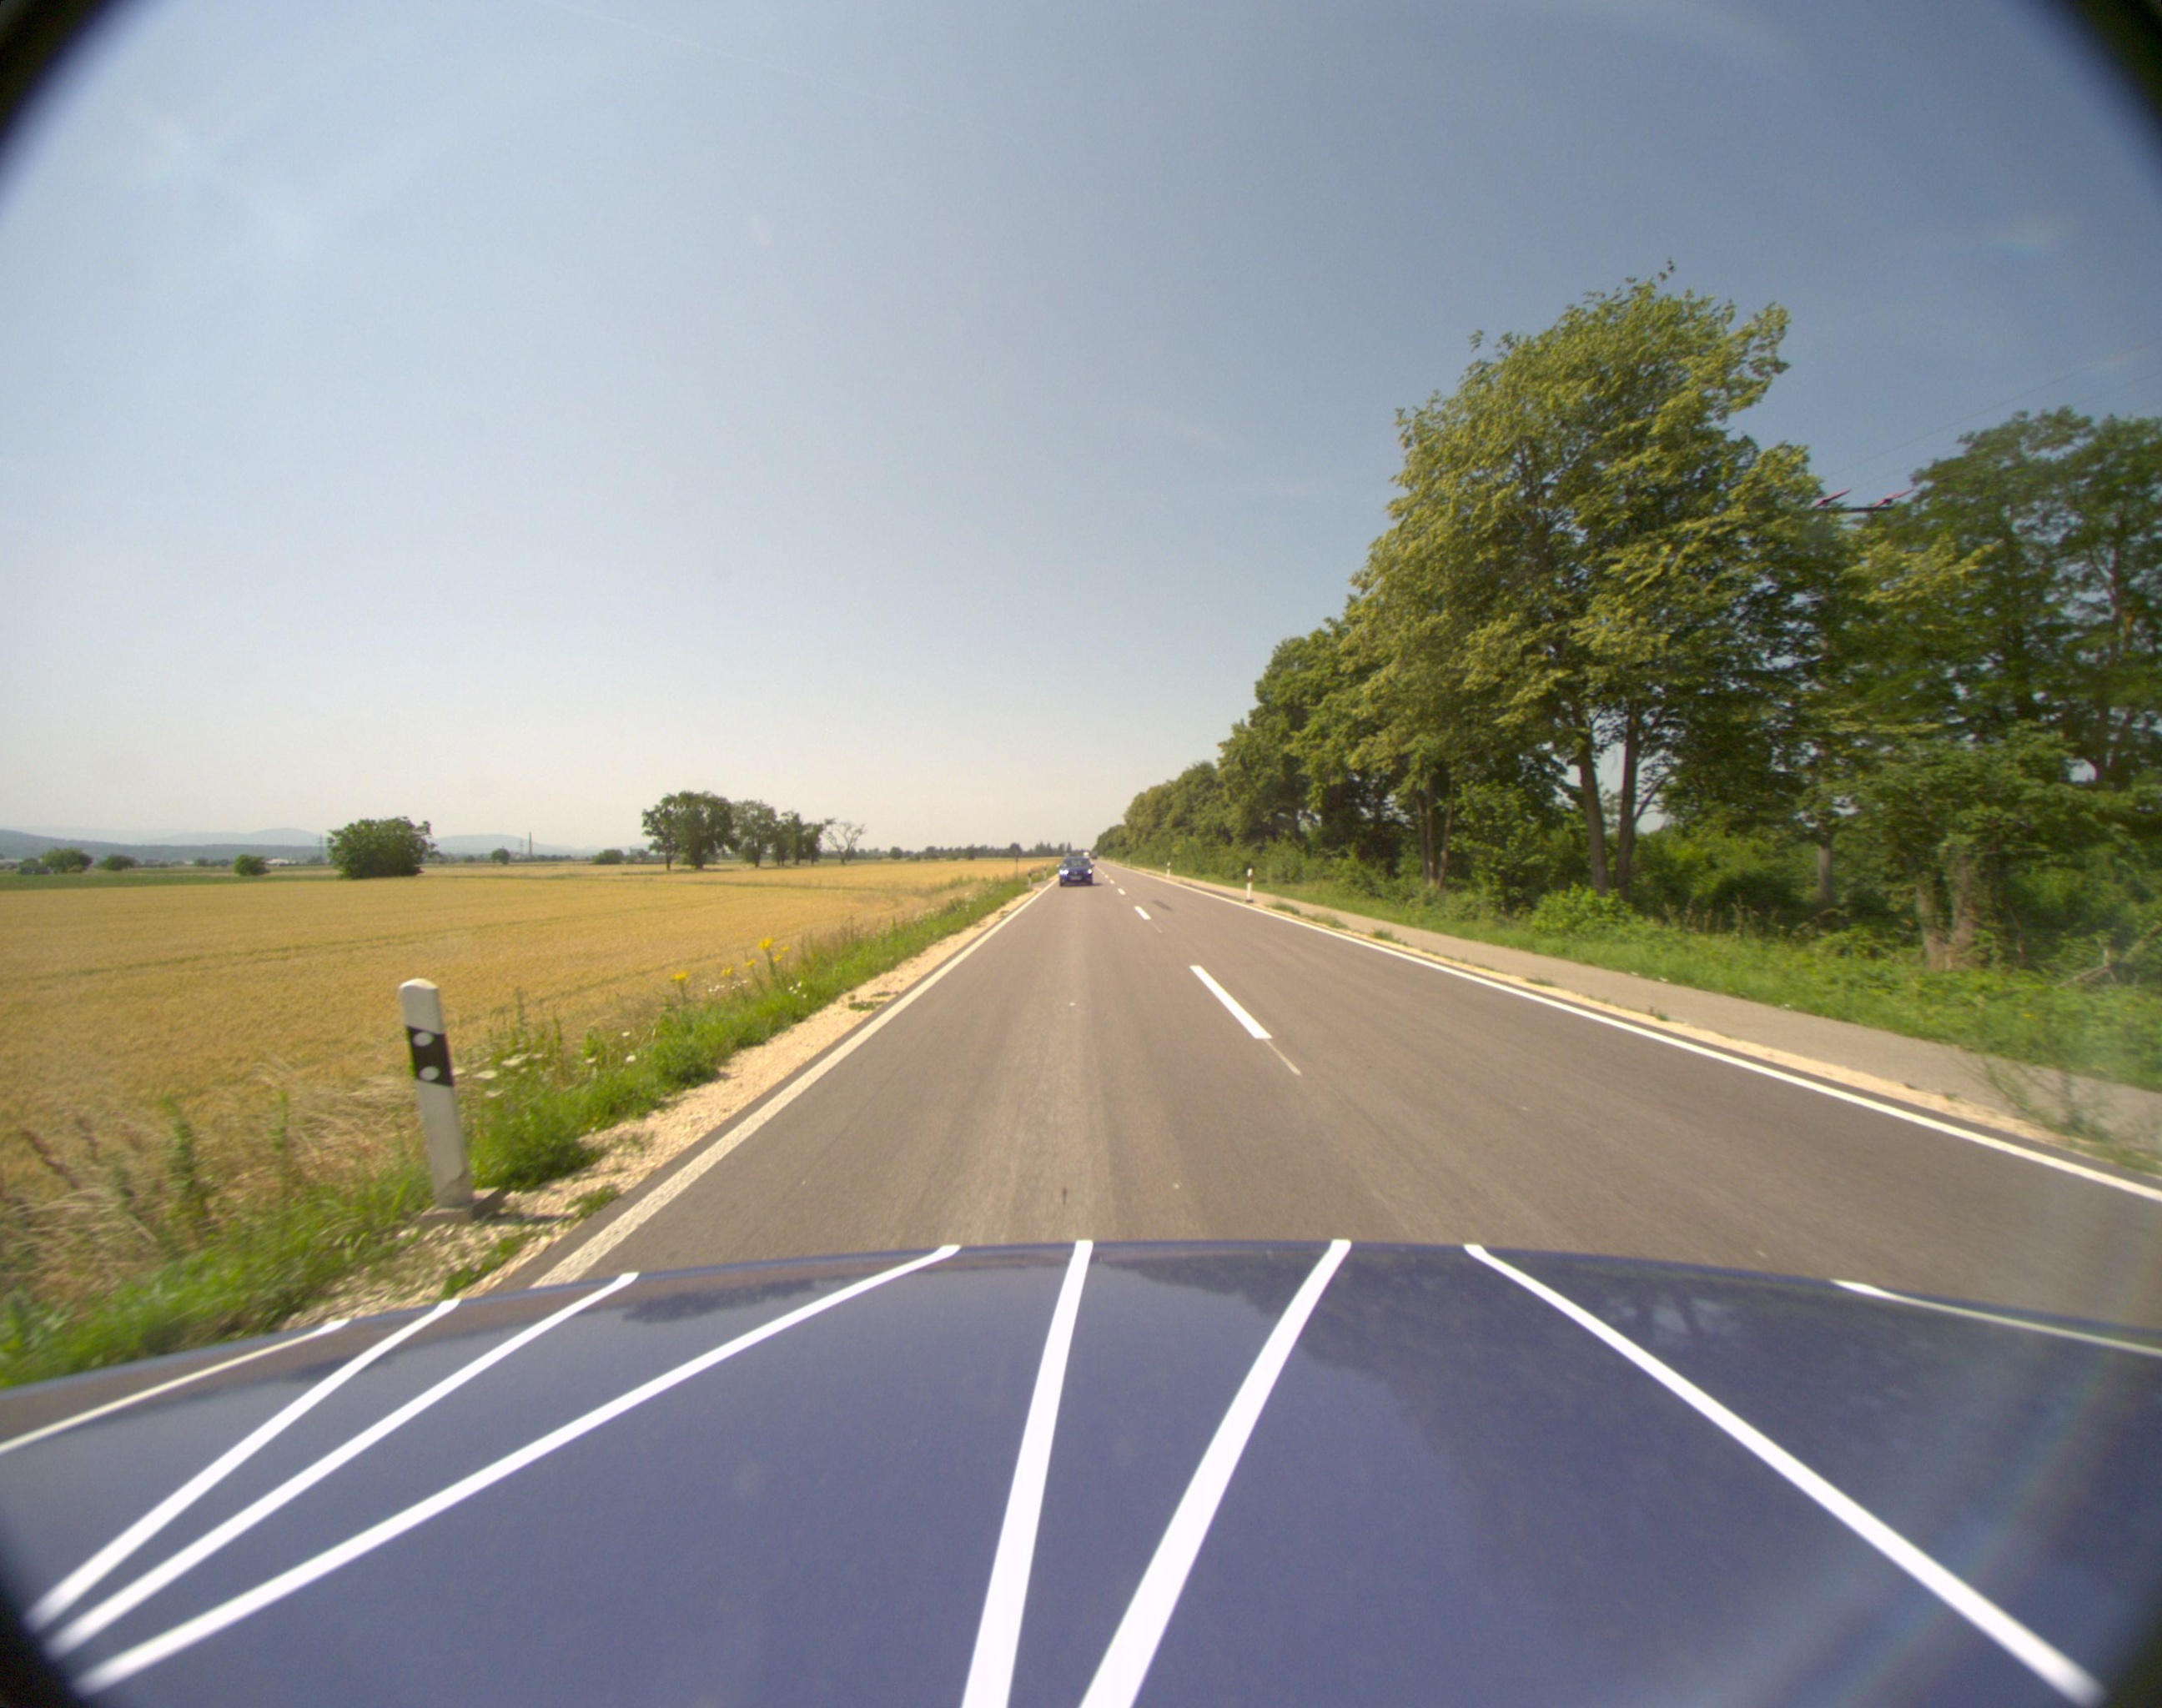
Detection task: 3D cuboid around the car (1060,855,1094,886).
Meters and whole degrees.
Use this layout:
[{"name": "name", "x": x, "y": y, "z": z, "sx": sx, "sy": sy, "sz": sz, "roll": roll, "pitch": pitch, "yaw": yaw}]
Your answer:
[{"name": "car", "x": -0.196, "y": 0.827, "z": 40.606, "sx": 1.662, "sy": 1.508, "sz": 3.999, "roll": -2, "pitch": 0, "yaw": 0}]
